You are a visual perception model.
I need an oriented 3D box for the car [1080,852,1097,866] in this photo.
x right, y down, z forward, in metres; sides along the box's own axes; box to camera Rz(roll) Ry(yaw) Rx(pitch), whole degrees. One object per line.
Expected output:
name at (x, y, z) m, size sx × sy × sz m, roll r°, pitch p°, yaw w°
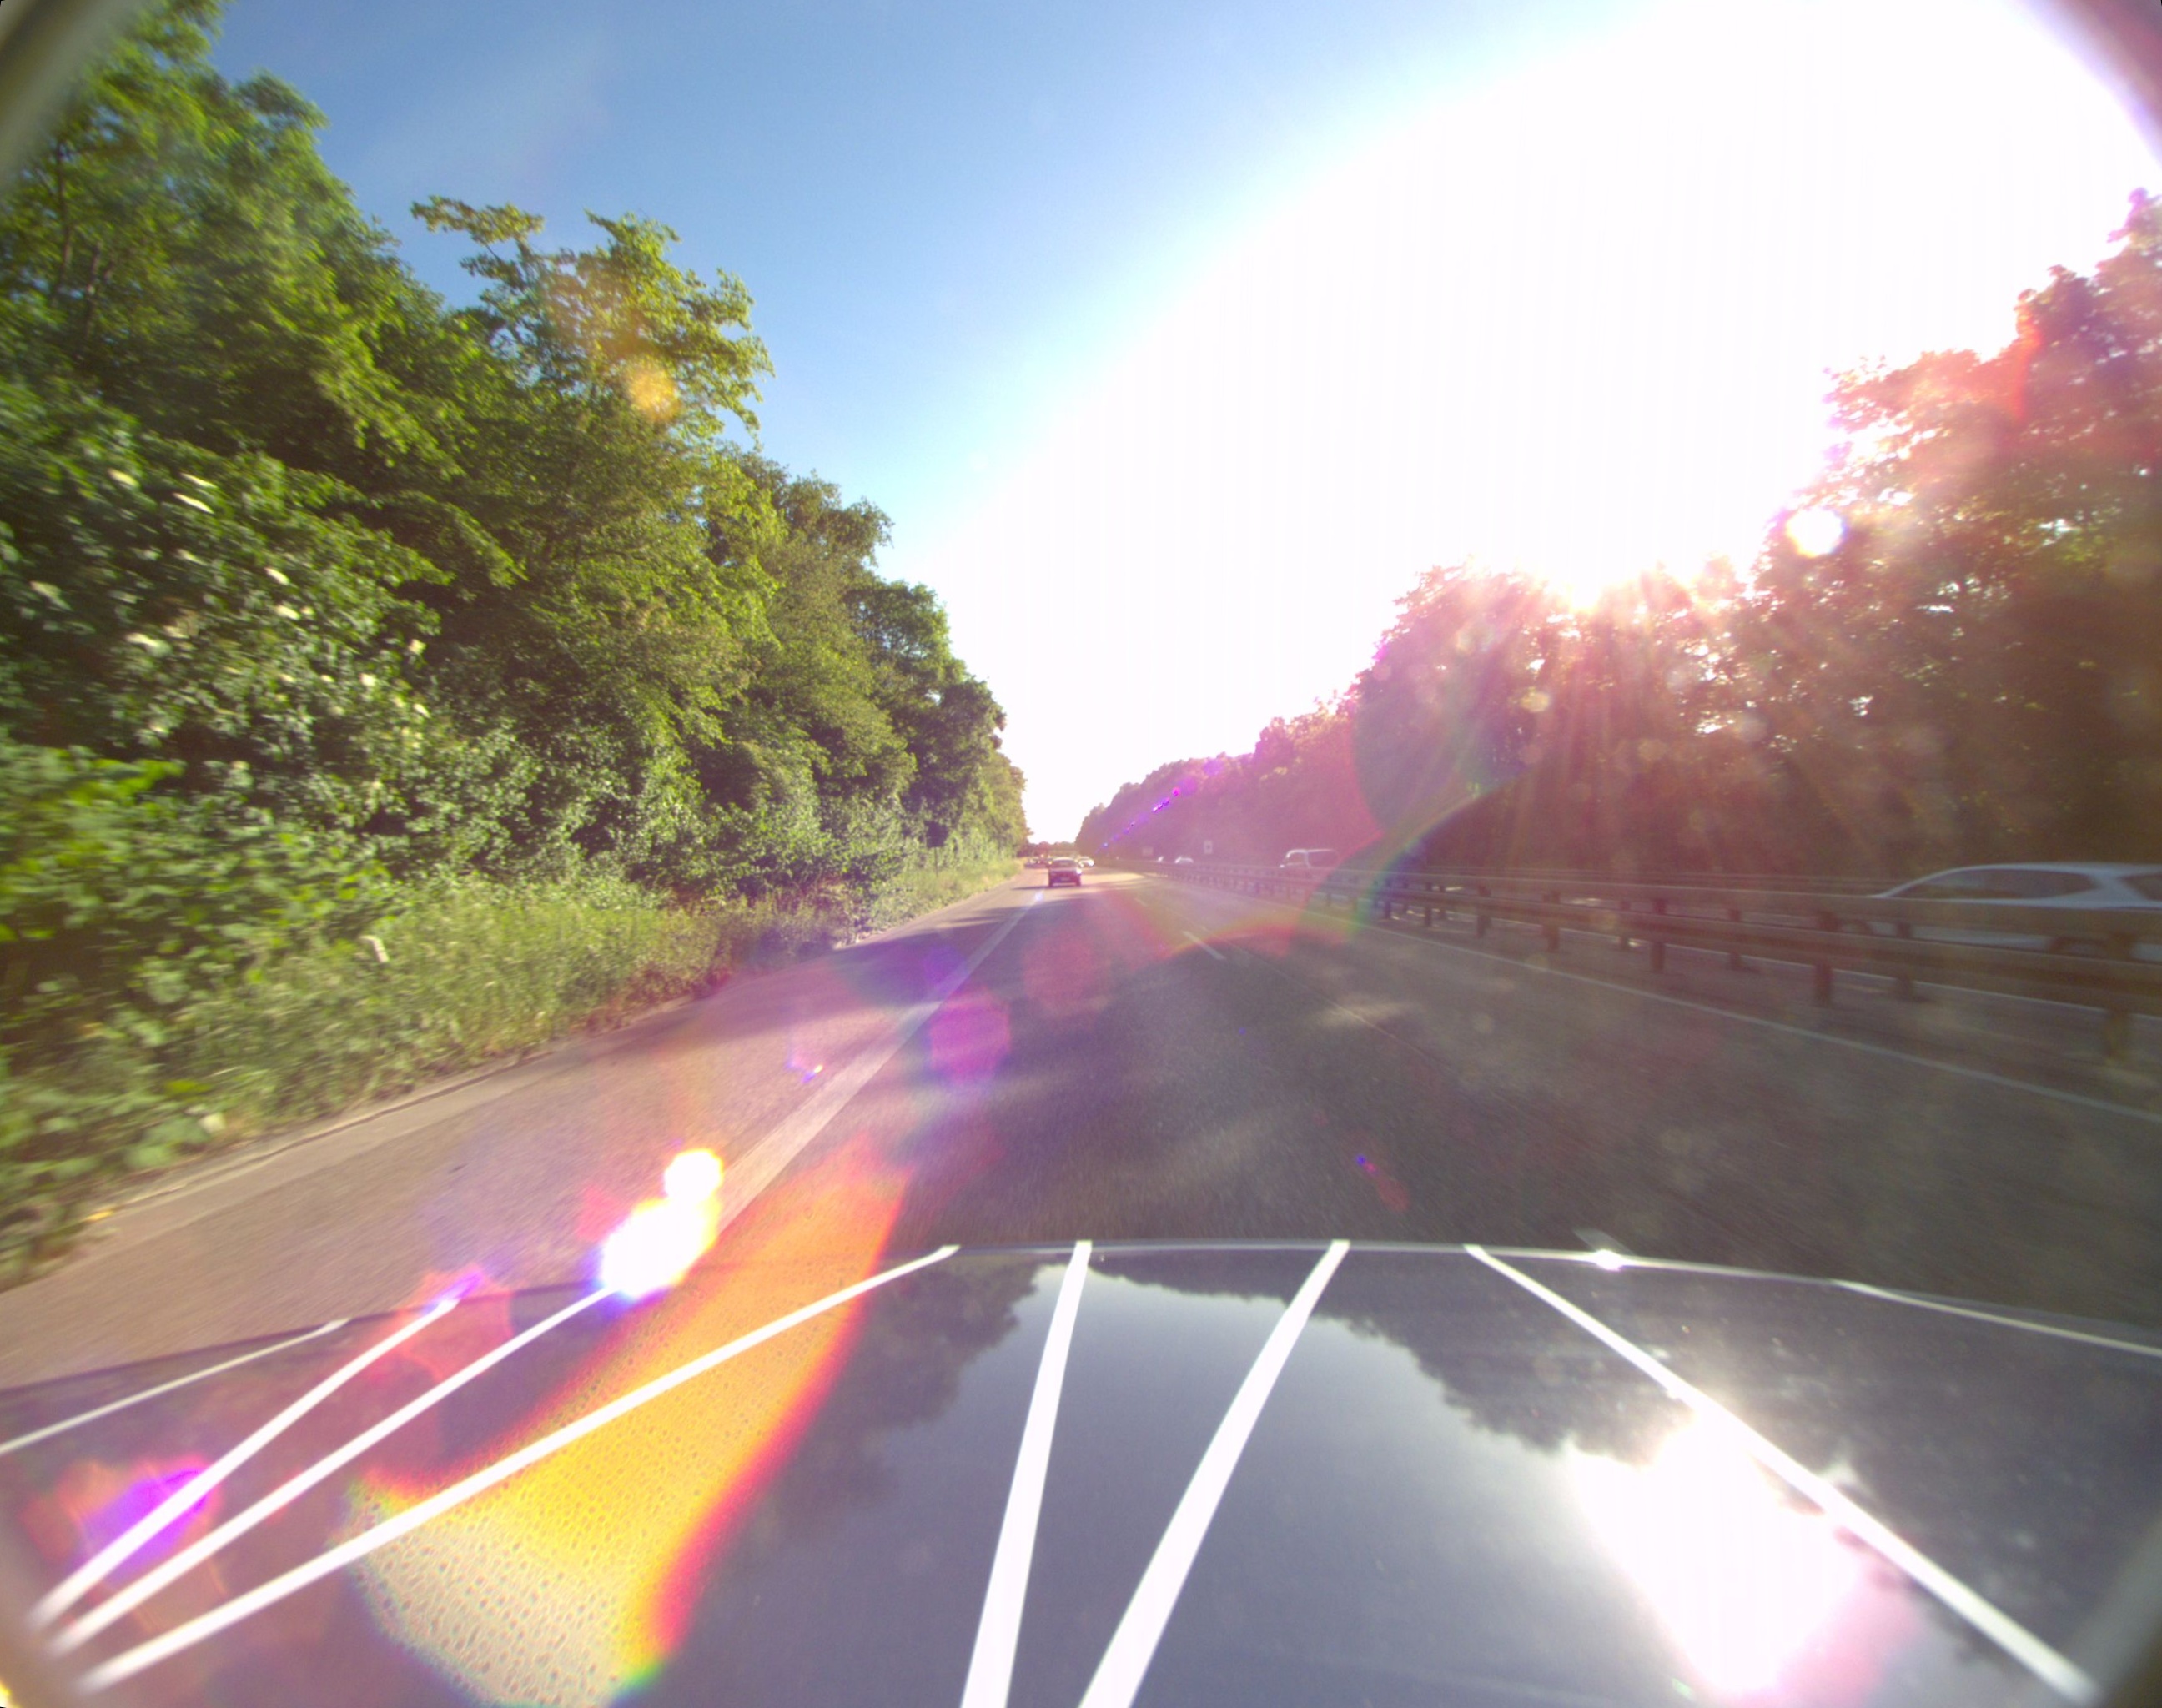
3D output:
car at (0.977, 0.694, 101.763) m, size 1.999 × 1.793 × 3.998 m, roll 1°, pitch 0°, yaw -4°

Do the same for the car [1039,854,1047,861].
car at (-8.982, 0.717, 178.042) m, size 1.713 × 1.565 × 3.422 m, roll -2°, pitch 0°, yaw -2°

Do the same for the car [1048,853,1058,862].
car at (-4.820, 0.607, 130.771) m, size 1.713 × 1.565 × 3.422 m, roll -2°, pitch 0°, yaw -2°

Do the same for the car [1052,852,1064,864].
car at (-3.308, 0.588, 109.806) m, size 1.713 × 1.565 × 3.422 m, roll -2°, pitch 0°, yaw -2°

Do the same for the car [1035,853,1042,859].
car at (-11.716, 0.660, 208.319) m, size 1.713 × 1.565 × 3.422 m, roll -2°, pitch 0°, yaw -2°

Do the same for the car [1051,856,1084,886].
car at (-0.737, 0.900, 41.831) m, size 1.713 × 1.565 × 3.422 m, roll -2°, pitch 0°, yaw -1°
